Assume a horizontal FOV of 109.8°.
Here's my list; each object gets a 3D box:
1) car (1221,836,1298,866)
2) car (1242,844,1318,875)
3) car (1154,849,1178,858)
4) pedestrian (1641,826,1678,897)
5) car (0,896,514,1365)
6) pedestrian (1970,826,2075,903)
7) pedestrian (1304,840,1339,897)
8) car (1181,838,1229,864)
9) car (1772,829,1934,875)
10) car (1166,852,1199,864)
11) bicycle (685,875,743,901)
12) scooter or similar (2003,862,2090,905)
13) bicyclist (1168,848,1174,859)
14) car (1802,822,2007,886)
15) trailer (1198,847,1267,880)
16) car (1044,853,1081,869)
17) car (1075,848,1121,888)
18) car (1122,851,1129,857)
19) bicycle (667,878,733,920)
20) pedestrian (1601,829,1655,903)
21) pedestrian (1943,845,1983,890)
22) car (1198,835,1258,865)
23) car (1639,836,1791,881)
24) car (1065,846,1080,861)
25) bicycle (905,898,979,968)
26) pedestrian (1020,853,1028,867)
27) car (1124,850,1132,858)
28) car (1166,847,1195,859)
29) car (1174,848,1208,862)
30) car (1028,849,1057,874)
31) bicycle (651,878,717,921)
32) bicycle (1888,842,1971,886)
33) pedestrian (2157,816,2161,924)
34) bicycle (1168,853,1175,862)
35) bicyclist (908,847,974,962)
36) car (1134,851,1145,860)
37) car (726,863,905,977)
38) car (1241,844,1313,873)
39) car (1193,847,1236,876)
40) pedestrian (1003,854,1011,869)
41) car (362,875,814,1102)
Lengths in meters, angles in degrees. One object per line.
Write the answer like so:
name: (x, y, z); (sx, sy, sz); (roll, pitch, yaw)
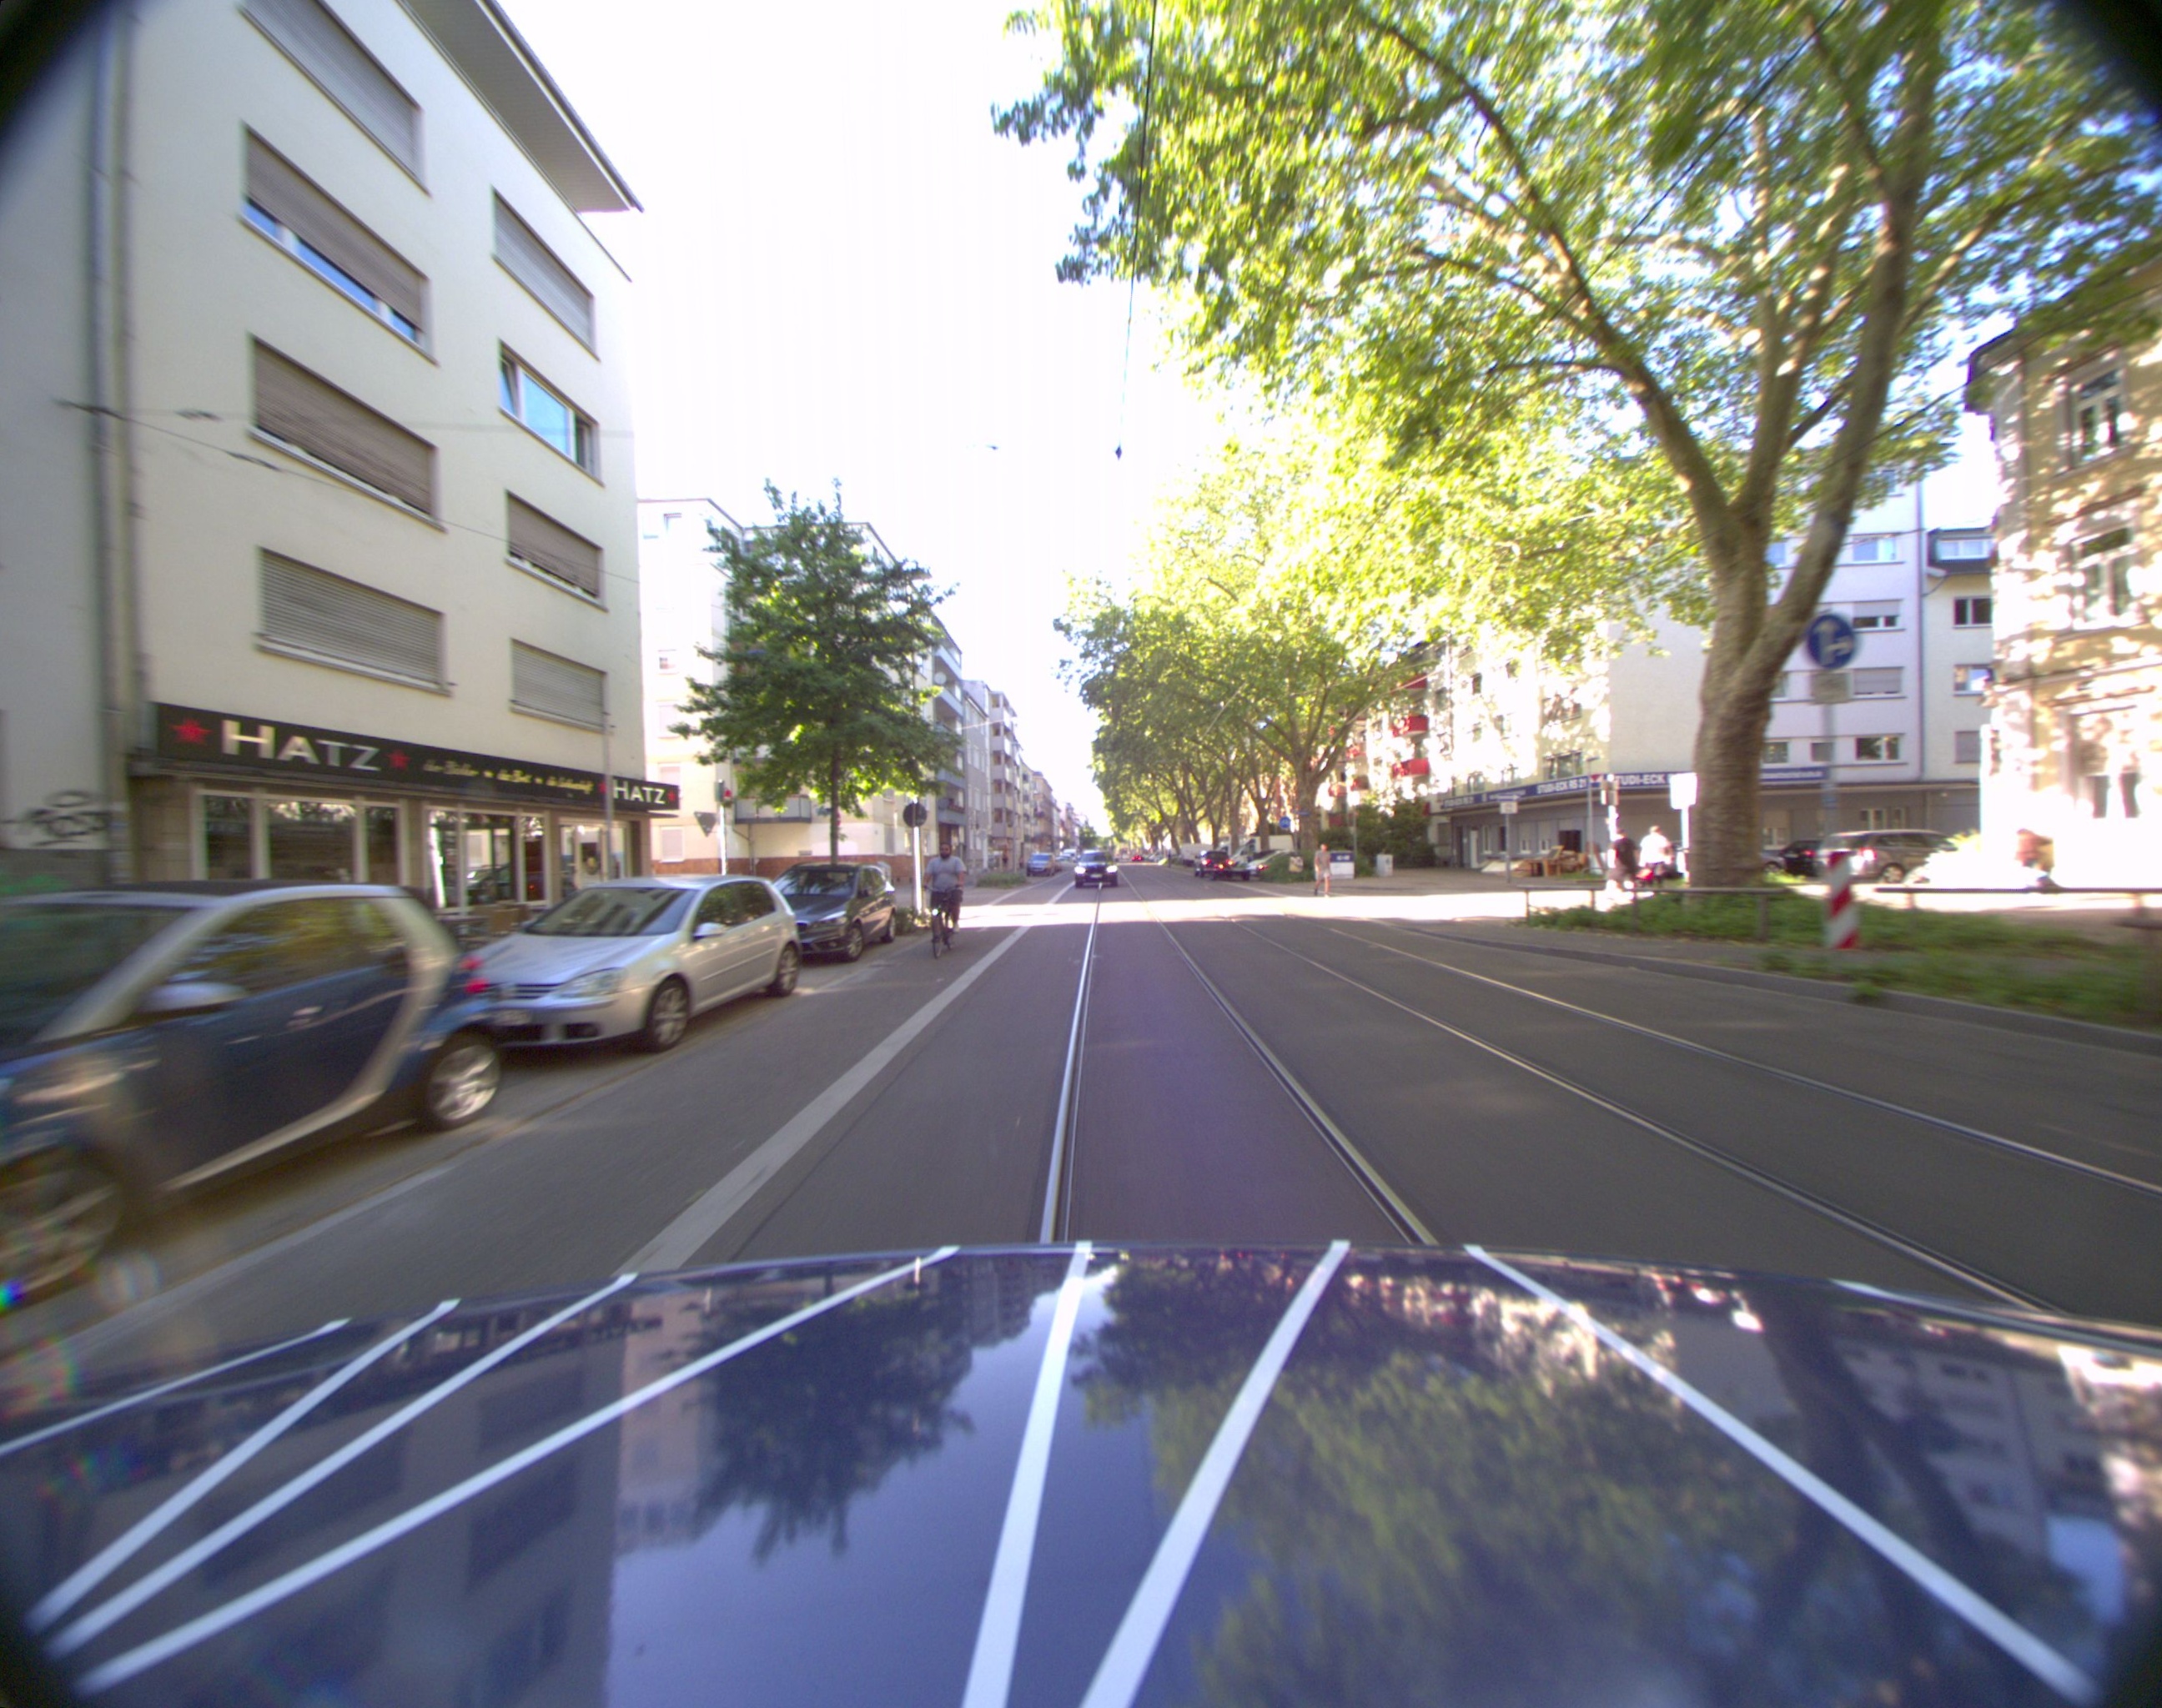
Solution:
car: (13.163, -0.227, 56.100); (5.134, 1.984, 1.999); (-3, 1, -3)
car: (11.776, 0.322, 45.110); (3.997, 1.600, 1.909); (-3, 1, 0)
car: (15.038, -0.132, 134.449); (3.997, 1.458, 1.792); (-3, 1, 0)
pedestrian: (14.673, 0.184, 19.293); (0.668, 1.770, 0.725); (-1, 2, 34)
car: (-4.546, 1.049, 3.646); (1.448, 1.528, 2.881); (0, 0, 1)
pedestrian: (19.089, 0.198, 15.433); (0.774, 1.470, 1.069); (-3, 1, 0)
pedestrian: (7.731, 0.451, 24.422); (0.700, 1.781, 0.801); (-3, 1, -11)
car: (12.891, -0.309, 79.455); (4.660, 2.518, 2.000); (-3, 1, 2)
car: (29.026, -0.093, 28.678); (4.152, 1.597, 1.896); (-1, 1, 1)
car: (13.313, 0.510, 99.991); (3.997, 1.458, 2.000); (-3, 1, 0)
bicycle: (-15.004, 1.379, 31.097); (2.109, 0.986, 0.607); (-1, 1, 5)
scooter or similar: (18.686, 0.558, 14.725); (0.529, 0.749, 0.896); (-3, 1, 0)
bicyclist: (9.570, -0.066, 80.623); (0.533, 1.206, 0.666); (-3, 1, 2)
car: (24.486, 0.031, 22.719); (4.011, 1.627, 1.801); (-3, -3, 1)
trailer: (8.155, 0.447, 41.590); (2.452, 1.622, 6.583); (1, 1, 0)
car: (-2.039, 0.754, 83.614); (3.997, 1.458, 2.000); (-3, 1, 0)
car: (0.822, 0.600, 36.031); (1.998, 1.723, 4.399); (-2, 1, 2)
car: (13.054, -0.035, 222.333); (1.998, 1.723, 4.399); (-3, 1, 2)
bicycle: (-11.556, 1.369, 23.025); (2.069, 1.200, 0.482); (-2, 1, 23)
pedestrian: (13.455, 0.289, 18.711); (0.740, 1.747, 0.734); (-3, 1, -12)
pedestrian: (21.230, 0.313, 18.289); (0.544, 1.034, 0.545); (-3, 1, -31)
car: (12.527, -0.321, 64.841); (4.660, 2.293, 2.000); (-3, 1, 2)
car: (23.914, 0.155, 28.761); (4.152, 1.469, 1.834); (-3, 1, 1)
car: (-1.246, -0.065, 112.569); (1.990, 2.085, 4.470); (-3, 1, 2)
bicycle: (-2.311, 1.292, 12.895); (0.790, 0.932, 1.939); (-3, 1, 2)
pedestrian: (-6.738, 0.725, 89.758); (0.697, 1.685, 0.678); (-3, 1, 2)
car: (11.876, 0.038, 192.904); (1.998, 1.723, 4.399); (-3, 1, 2)
car: (14.391, -0.129, 110.160); (3.997, 1.458, 2.000); (-3, 1, 0)
car: (13.711, 0.124, 95.005); (3.997, 1.458, 2.000); (-3, 1, 0)
car: (-3.098, 0.574, 62.476); (1.958, 1.914, 4.000); (-3, 1, 2)
bicycle: (-11.781, 1.348, 22.528); (2.069, 1.200, 0.482); (-2, 1, 23)
bicycle: (22.342, 0.266, 20.010); (1.868, 1.055, 0.656); (-3, -2, -16)
pedestrian: (16.759, 0.233, 11.073); (0.713, 1.628, 1.009); (-3, 1, -1)
bicycle: (9.591, 0.374, 80.615); (0.533, 0.901, 1.557); (-3, 1, 2)
bicyclist: (-2.338, 0.819, 12.830); (0.769, 1.821, 1.099); (-3, 1, 2)
car: (11.642, 0.259, 150.815); (1.998, 1.723, 4.399); (-3, 1, 2)
car: (-4.379, 0.996, 13.241); (1.724, 1.562, 4.258); (1, 1, -2)
car: (12.294, 0.259, 47.801); (3.997, 1.636, 2.000); (-3, 1, 0)
car: (8.194, 0.411, 47.027); (1.928, 1.674, 4.181); (1, 1, 0)
pedestrian: (-7.214, 0.740, 74.101); (0.590, 1.493, 0.600); (-3, 1, 2)
car: (-4.361, 1.046, 7.654); (1.791, 1.528, 4.128); (1, 0, 1)
